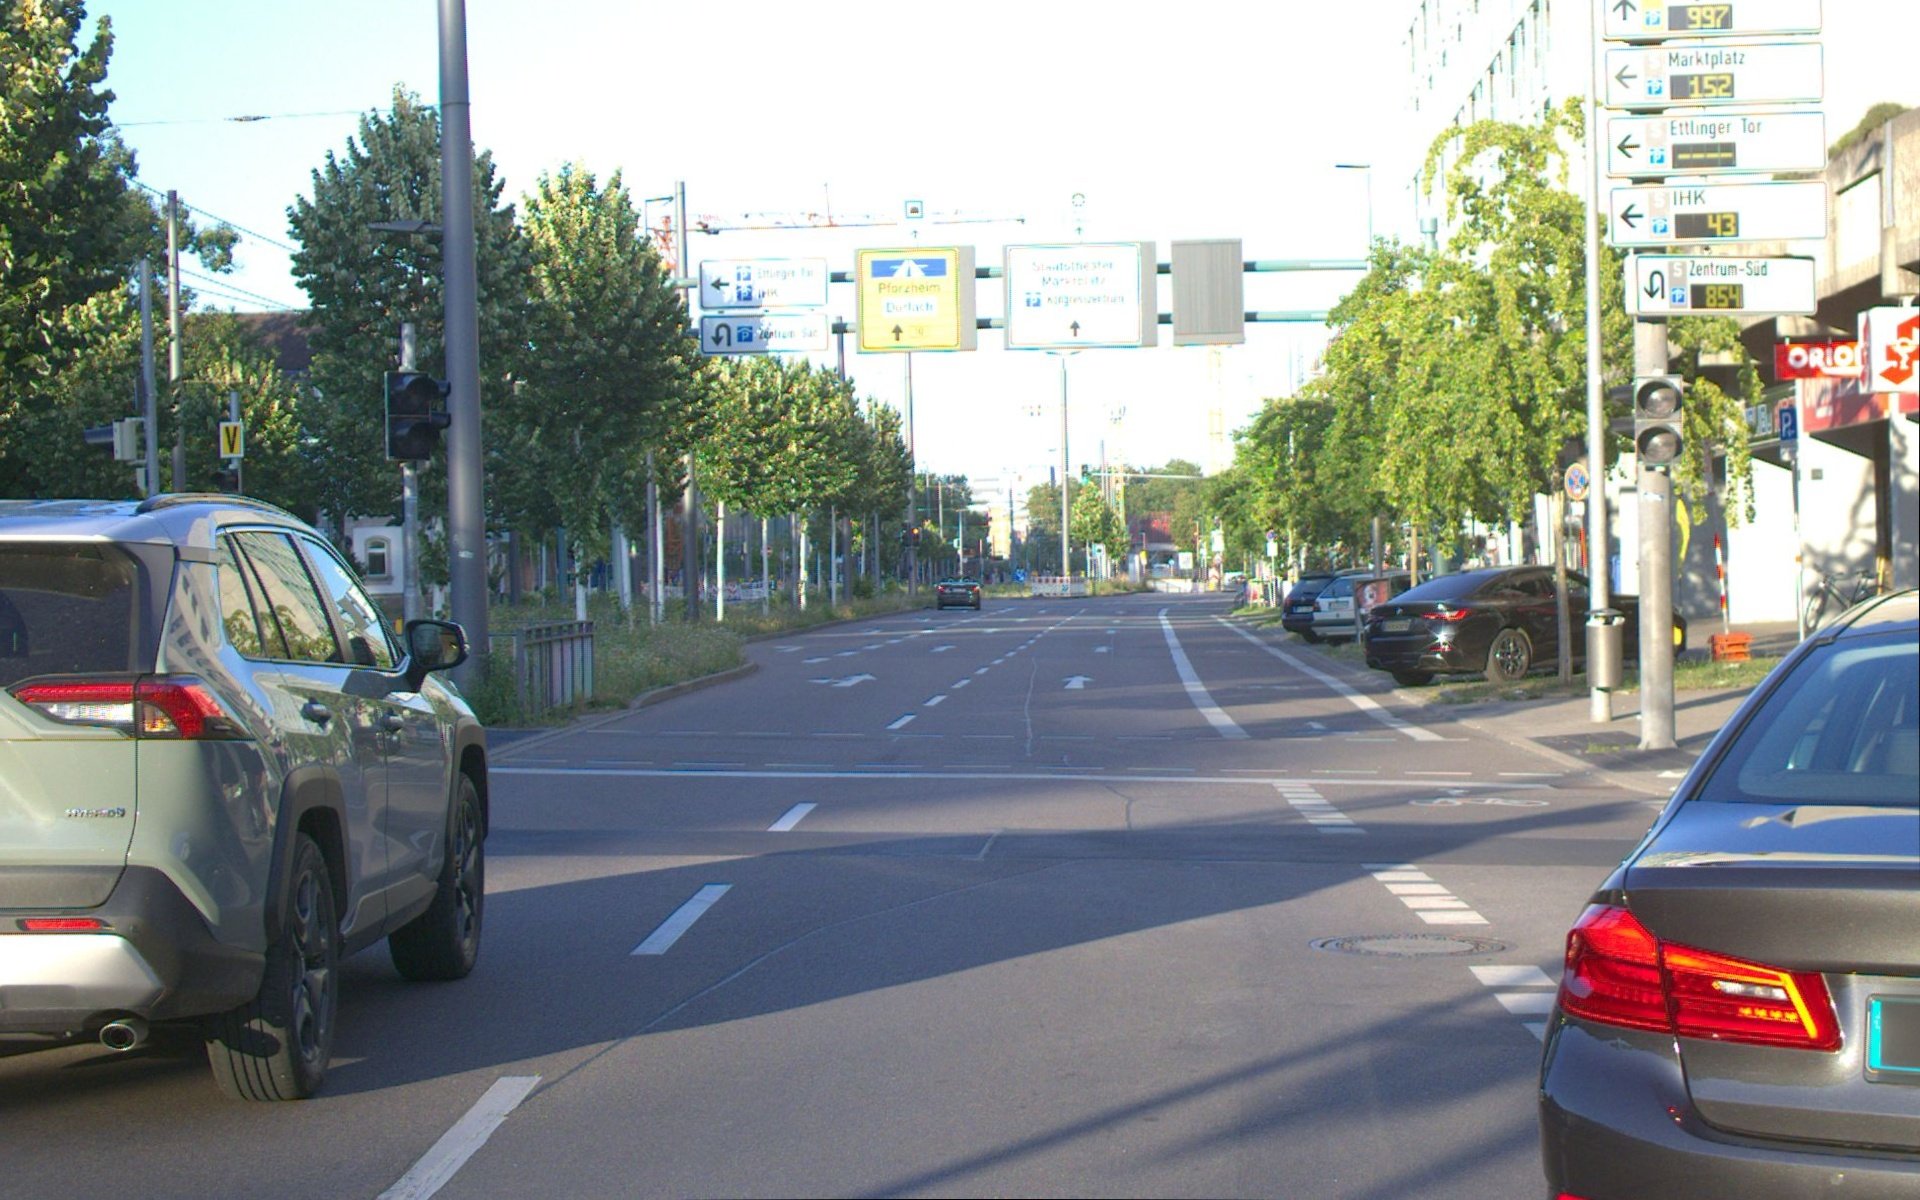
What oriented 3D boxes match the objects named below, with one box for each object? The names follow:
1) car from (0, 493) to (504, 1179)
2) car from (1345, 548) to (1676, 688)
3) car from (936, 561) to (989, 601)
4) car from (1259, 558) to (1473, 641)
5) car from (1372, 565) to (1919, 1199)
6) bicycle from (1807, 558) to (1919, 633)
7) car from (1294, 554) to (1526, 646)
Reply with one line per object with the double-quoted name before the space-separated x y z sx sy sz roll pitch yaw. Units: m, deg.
"car" -2.640 0.507 10.472 1.854 1.653 4.269 0 2 1
"car" 7.049 0.188 43.824 4.256 1.653 1.860 -1 2 -41
"car" 0.117 -0.763 134.325 1.979 1.428 4.843 0 2 1
"car" 8.559 -0.035 72.381 4.255 1.653 1.860 -1 2 -33
"car" 2.485 0.718 6.836 1.935 1.476 4.516 1 2 26
"bicycle" 14.896 -0.070 56.037 2.017 1.145 0.690 2 0 8
"car" 8.653 -0.031 65.997 4.255 1.653 1.860 -1 2 -34
